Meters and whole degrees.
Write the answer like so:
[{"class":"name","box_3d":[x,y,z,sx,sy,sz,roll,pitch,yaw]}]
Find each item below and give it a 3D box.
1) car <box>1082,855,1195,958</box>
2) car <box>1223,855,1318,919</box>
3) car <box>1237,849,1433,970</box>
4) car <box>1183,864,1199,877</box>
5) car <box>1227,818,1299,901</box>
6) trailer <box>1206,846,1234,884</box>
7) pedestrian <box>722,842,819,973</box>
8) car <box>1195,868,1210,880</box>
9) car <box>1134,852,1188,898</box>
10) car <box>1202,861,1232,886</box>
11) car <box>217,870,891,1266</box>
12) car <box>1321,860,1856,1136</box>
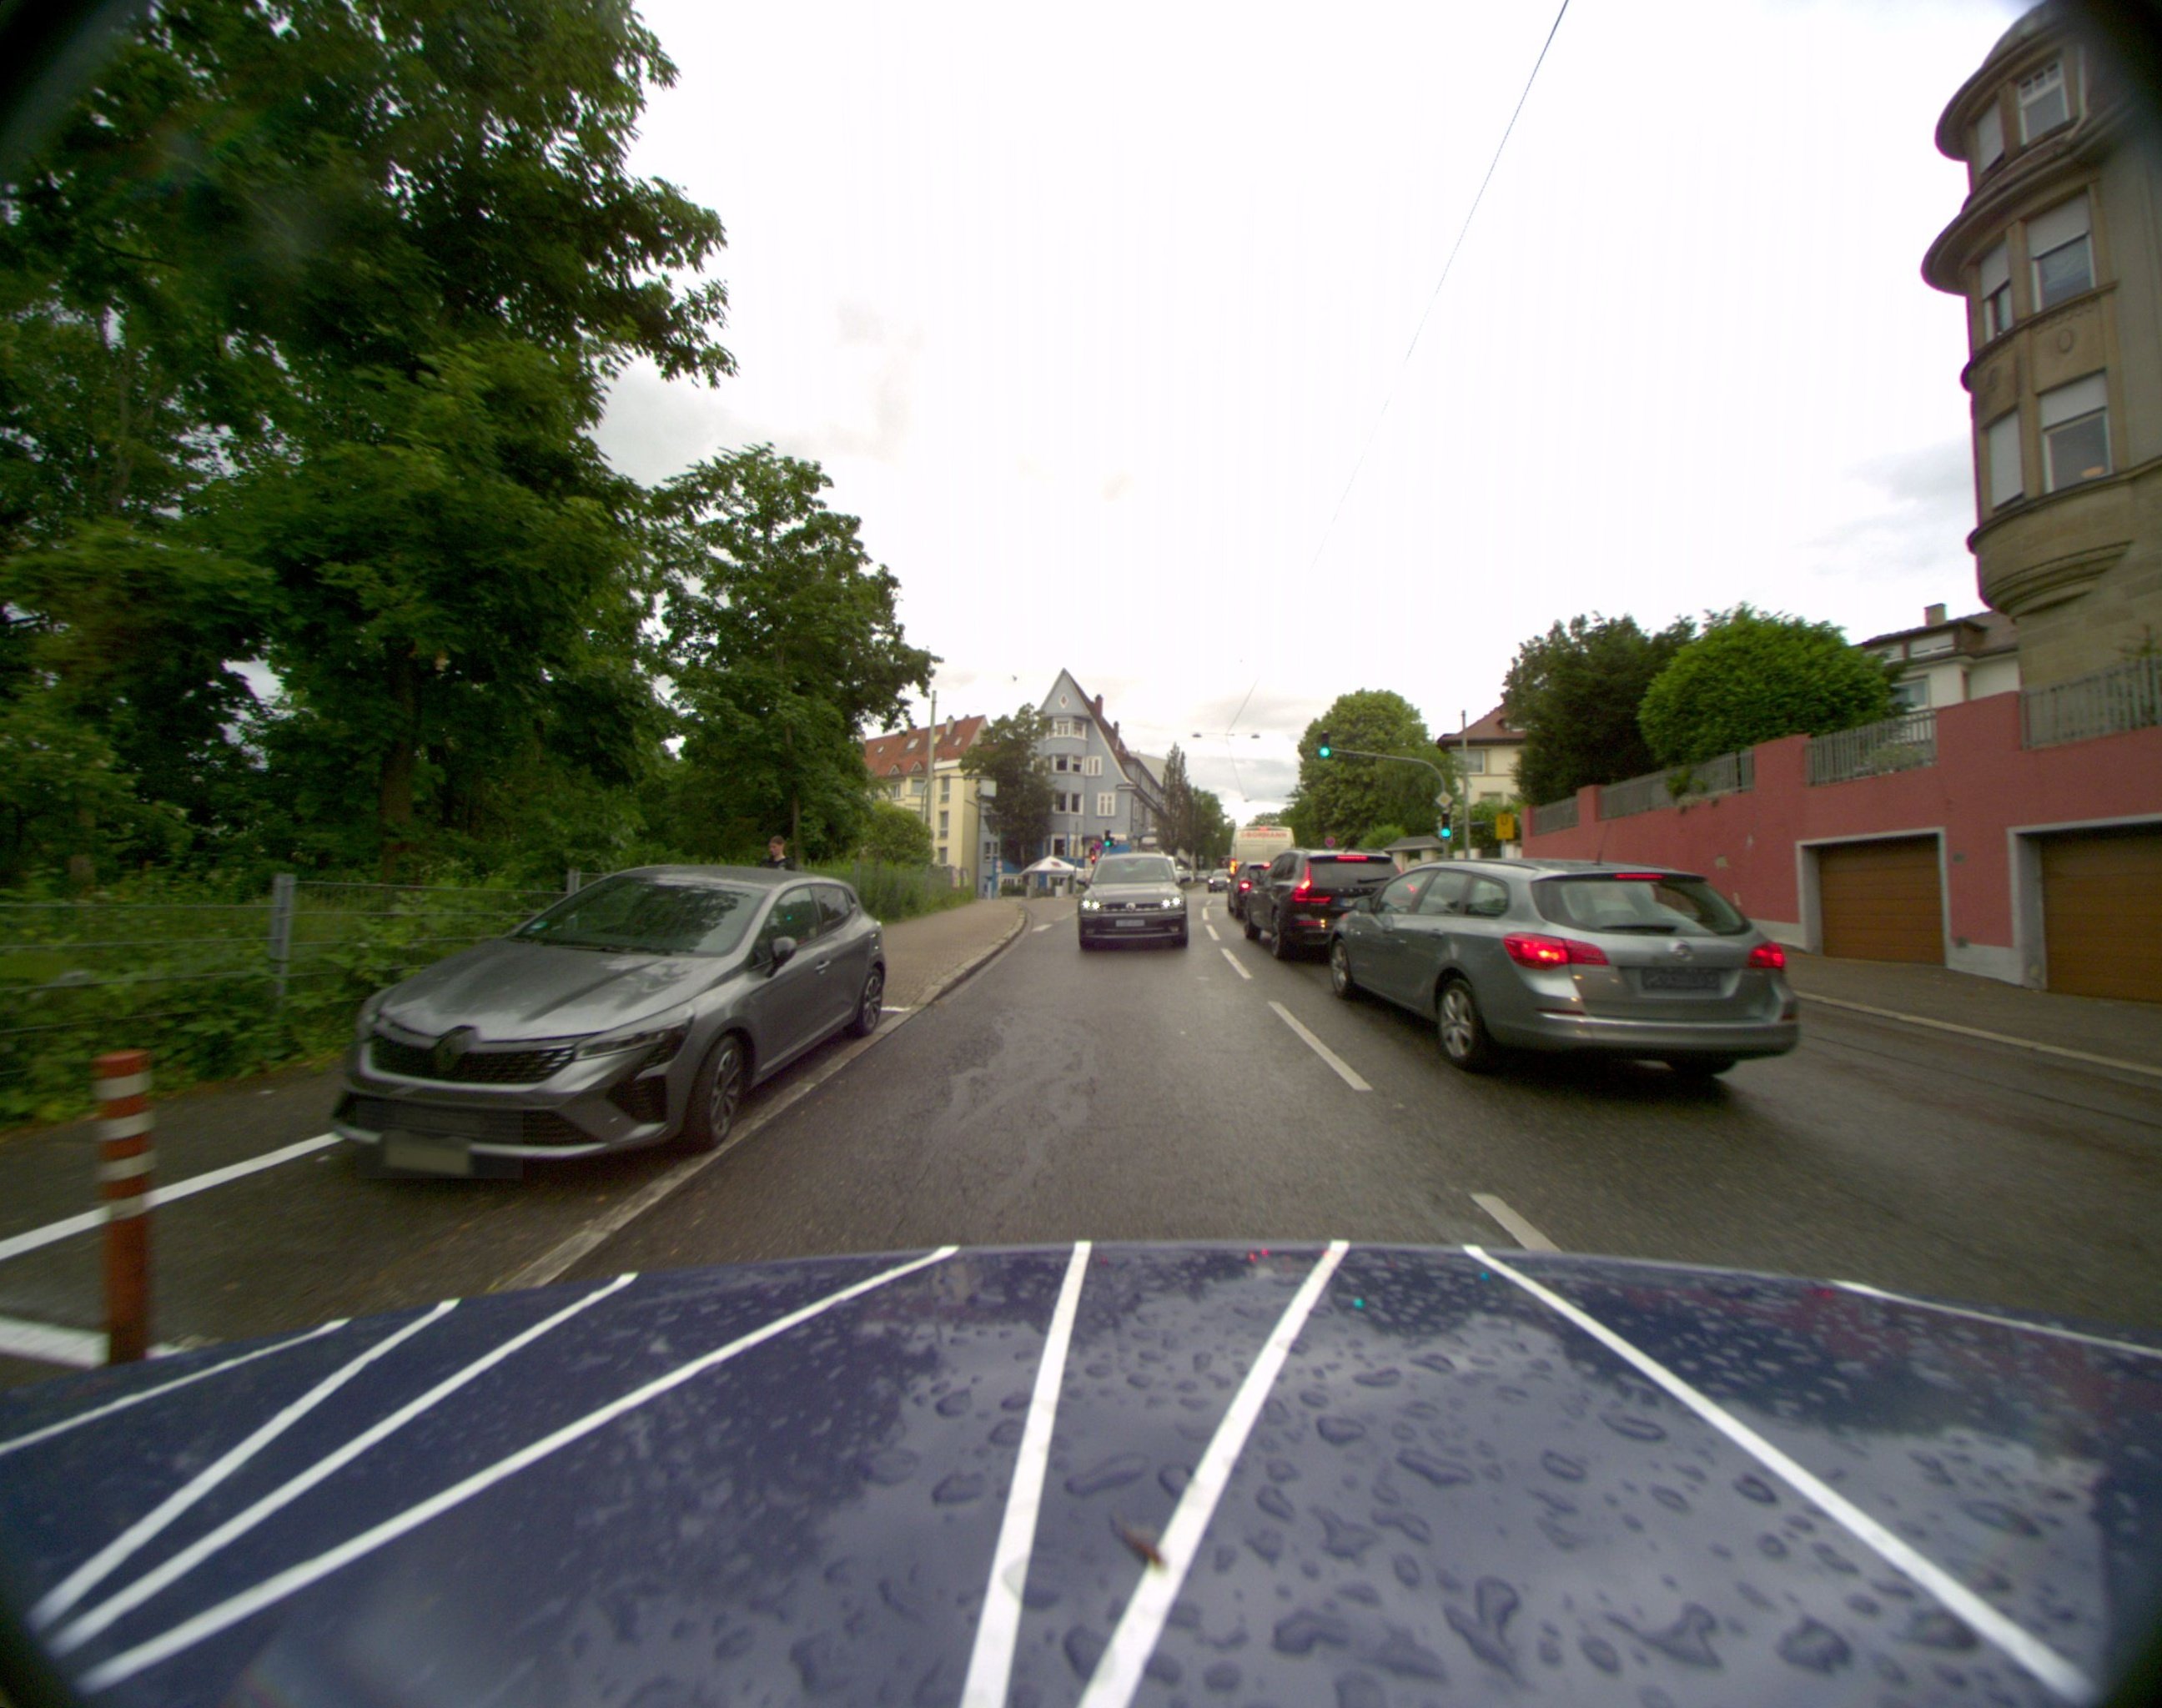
[{"class":"car","box_3d":[1.073,0.838,14.196,1.785,1.631,4.201,0,0,4]},{"class":"car","box_3d":[4.725,0.762,19.465,1.818,1.421,4.002,1,0,6]},{"class":"car","box_3d":[3.790,0.719,12.251,1.879,1.565,4.587,1,0,4]},{"class":"car","box_3d":[12.288,1.874,84.606,1.589,1.403,3.460,2,-1,10]},{"class":"car","box_3d":[6.136,0.168,26.162,2.121,2.531,5.544,0,0,11]},{"class":"trailer","box_3d":[10.206,0.781,55.740,1.769,2.610,3.036,-1,1,14]},{"class":"pedestrian","box_3d":[-4.041,0.664,9.947,0.767,1.596,0.966,2,1,5]},{"class":"car","box_3d":[15.803,2.544,98.658,1.817,1.451,4.746,0,0,12]},{"class":"car","box_3d":[3.114,0.750,28.790,1.784,1.631,4.203,0,0,9]},{"class":"car","box_3d":[9.418,1.319,52.595,1.734,1.610,3.479,-2,0,15]},{"class":"car","box_3d":[-2.692,0.925,5.063,1.653,1.396,3.813,4,1,2]},{"class":"car","box_3d":[3.511,0.821,6.404,1.778,1.488,4.263,0,0,2]}]
